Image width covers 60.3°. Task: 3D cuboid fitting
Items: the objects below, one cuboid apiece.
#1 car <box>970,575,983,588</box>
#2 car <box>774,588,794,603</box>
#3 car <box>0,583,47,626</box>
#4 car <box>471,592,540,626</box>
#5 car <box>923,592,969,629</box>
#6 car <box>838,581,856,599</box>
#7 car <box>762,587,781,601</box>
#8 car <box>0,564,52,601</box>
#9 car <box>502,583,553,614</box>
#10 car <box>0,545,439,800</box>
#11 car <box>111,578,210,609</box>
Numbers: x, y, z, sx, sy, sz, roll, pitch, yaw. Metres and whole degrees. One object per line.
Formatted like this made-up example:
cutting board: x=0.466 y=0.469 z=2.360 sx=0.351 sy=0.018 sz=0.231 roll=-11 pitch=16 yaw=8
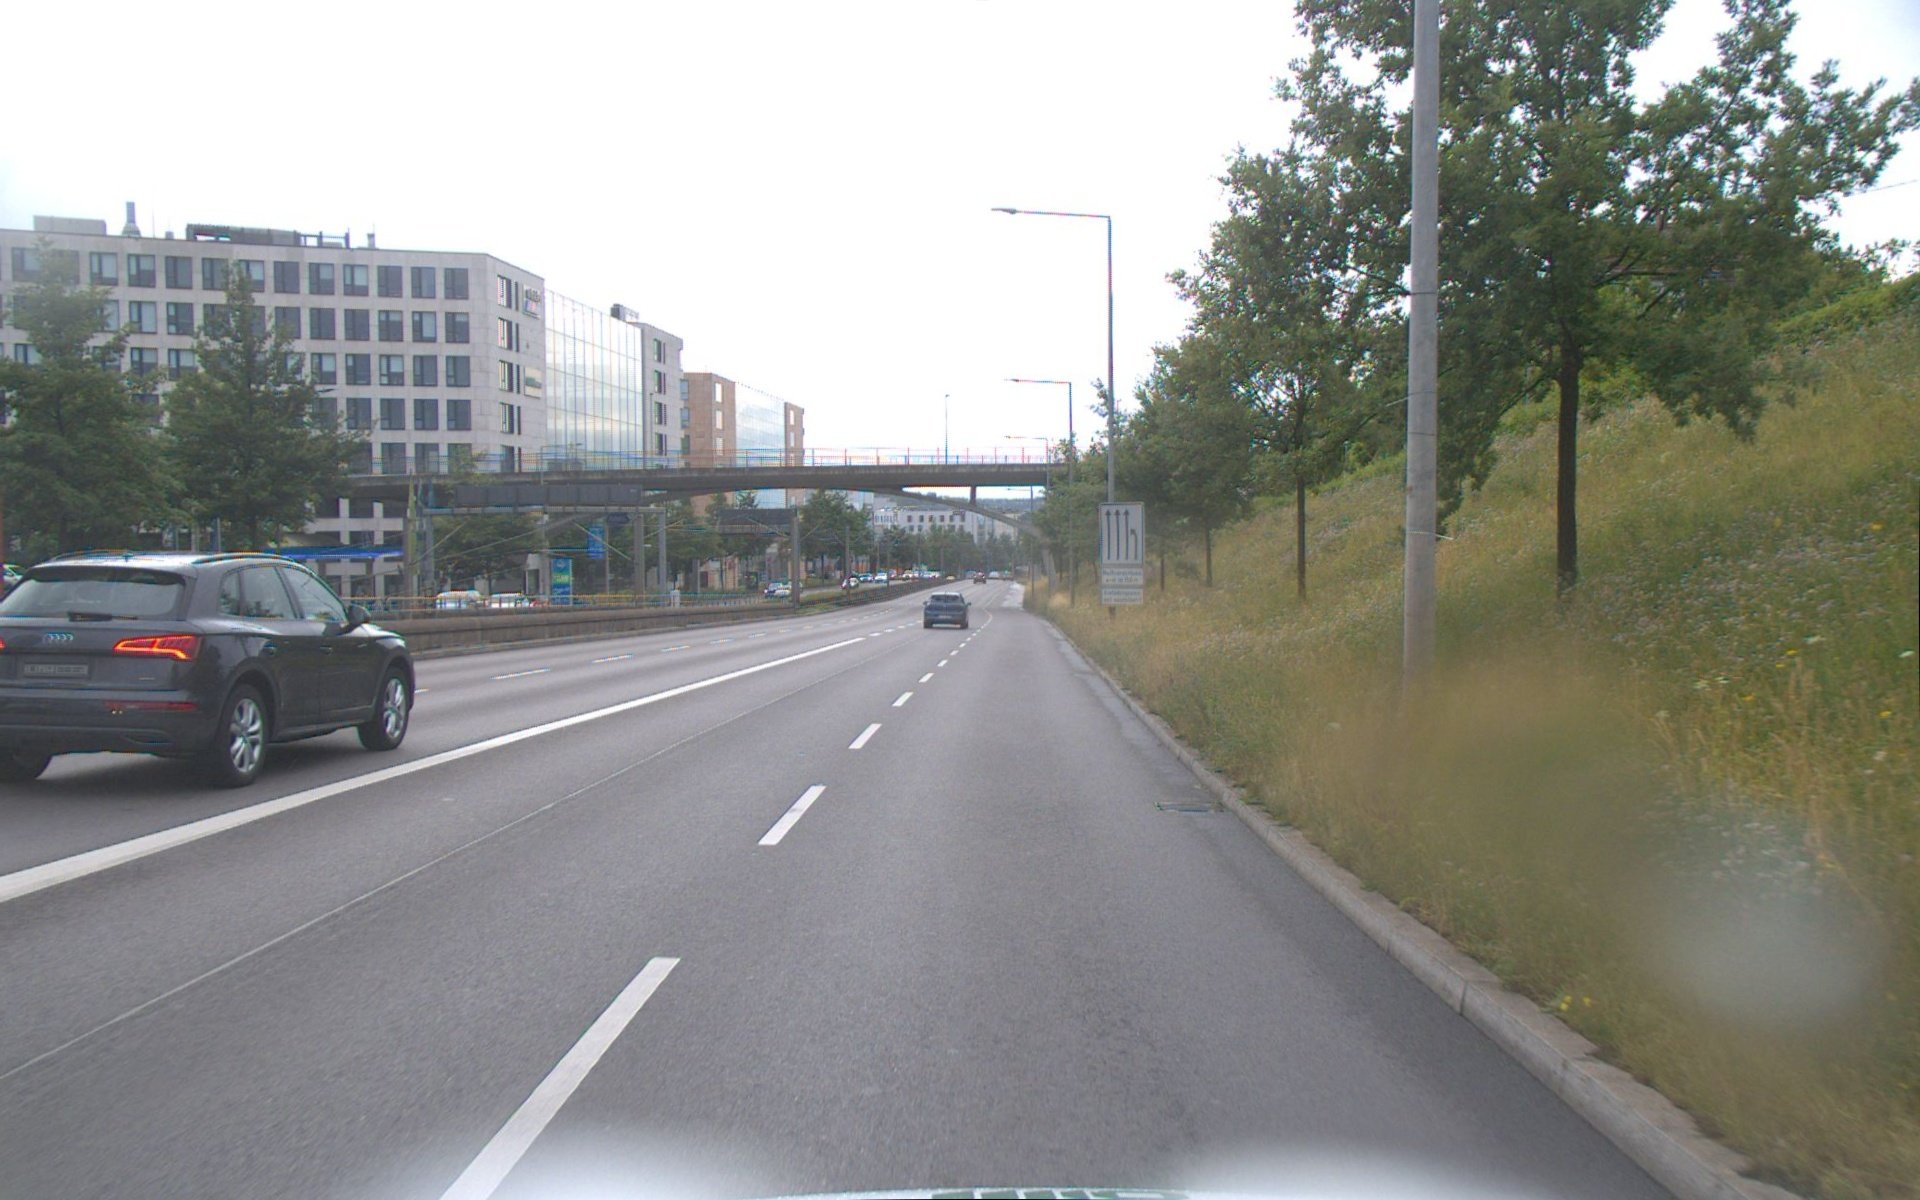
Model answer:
car: x=2.527 y=-2.894 z=252.918 sx=1.825 sy=1.780 sz=4.000 roll=2 pitch=3 yaw=-2
car: x=-17.225 y=-0.444 z=161.959 sx=1.486 sy=1.445 sz=3.479 roll=0 pitch=1 yaw=2
car: x=-39.864 y=0.142 z=68.010 sx=3.941 sy=1.679 sz=1.982 roll=1 pitch=1 yaw=-28
car: x=-22.779 y=0.418 z=83.002 sx=1.951 sy=1.612 sz=4.003 roll=-1 pitch=0 yaw=6
car: x=-0.551 y=0.401 z=67.664 sx=1.712 sy=1.445 sz=3.479 roll=0 pitch=0 yaw=2
car: x=-14.273 y=-1.274 z=208.600 sx=1.952 sy=2.048 sz=4.002 roll=2 pitch=3 yaw=1
car: x=-19.786 y=-0.653 z=173.290 sx=1.486 sy=1.445 sz=3.479 roll=0 pitch=1 yaw=2
car: x=-48.541 y=-0.926 z=83.875 sx=3.902 sy=1.679 sz=2.002 roll=2 pitch=3 yaw=7
car: x=-26.259 y=-0.098 z=100.559 sx=1.953 sy=1.808 sz=4.102 roll=2 pitch=0 yaw=0
car: x=-5.815 y=0.468 z=13.126 sx=1.714 sy=1.645 sz=4.749 roll=0 pitch=0 yaw=2
car: x=-38.922 y=-0.325 z=80.543 sx=3.903 sy=1.377 sz=1.851 roll=2 pitch=1 yaw=4
